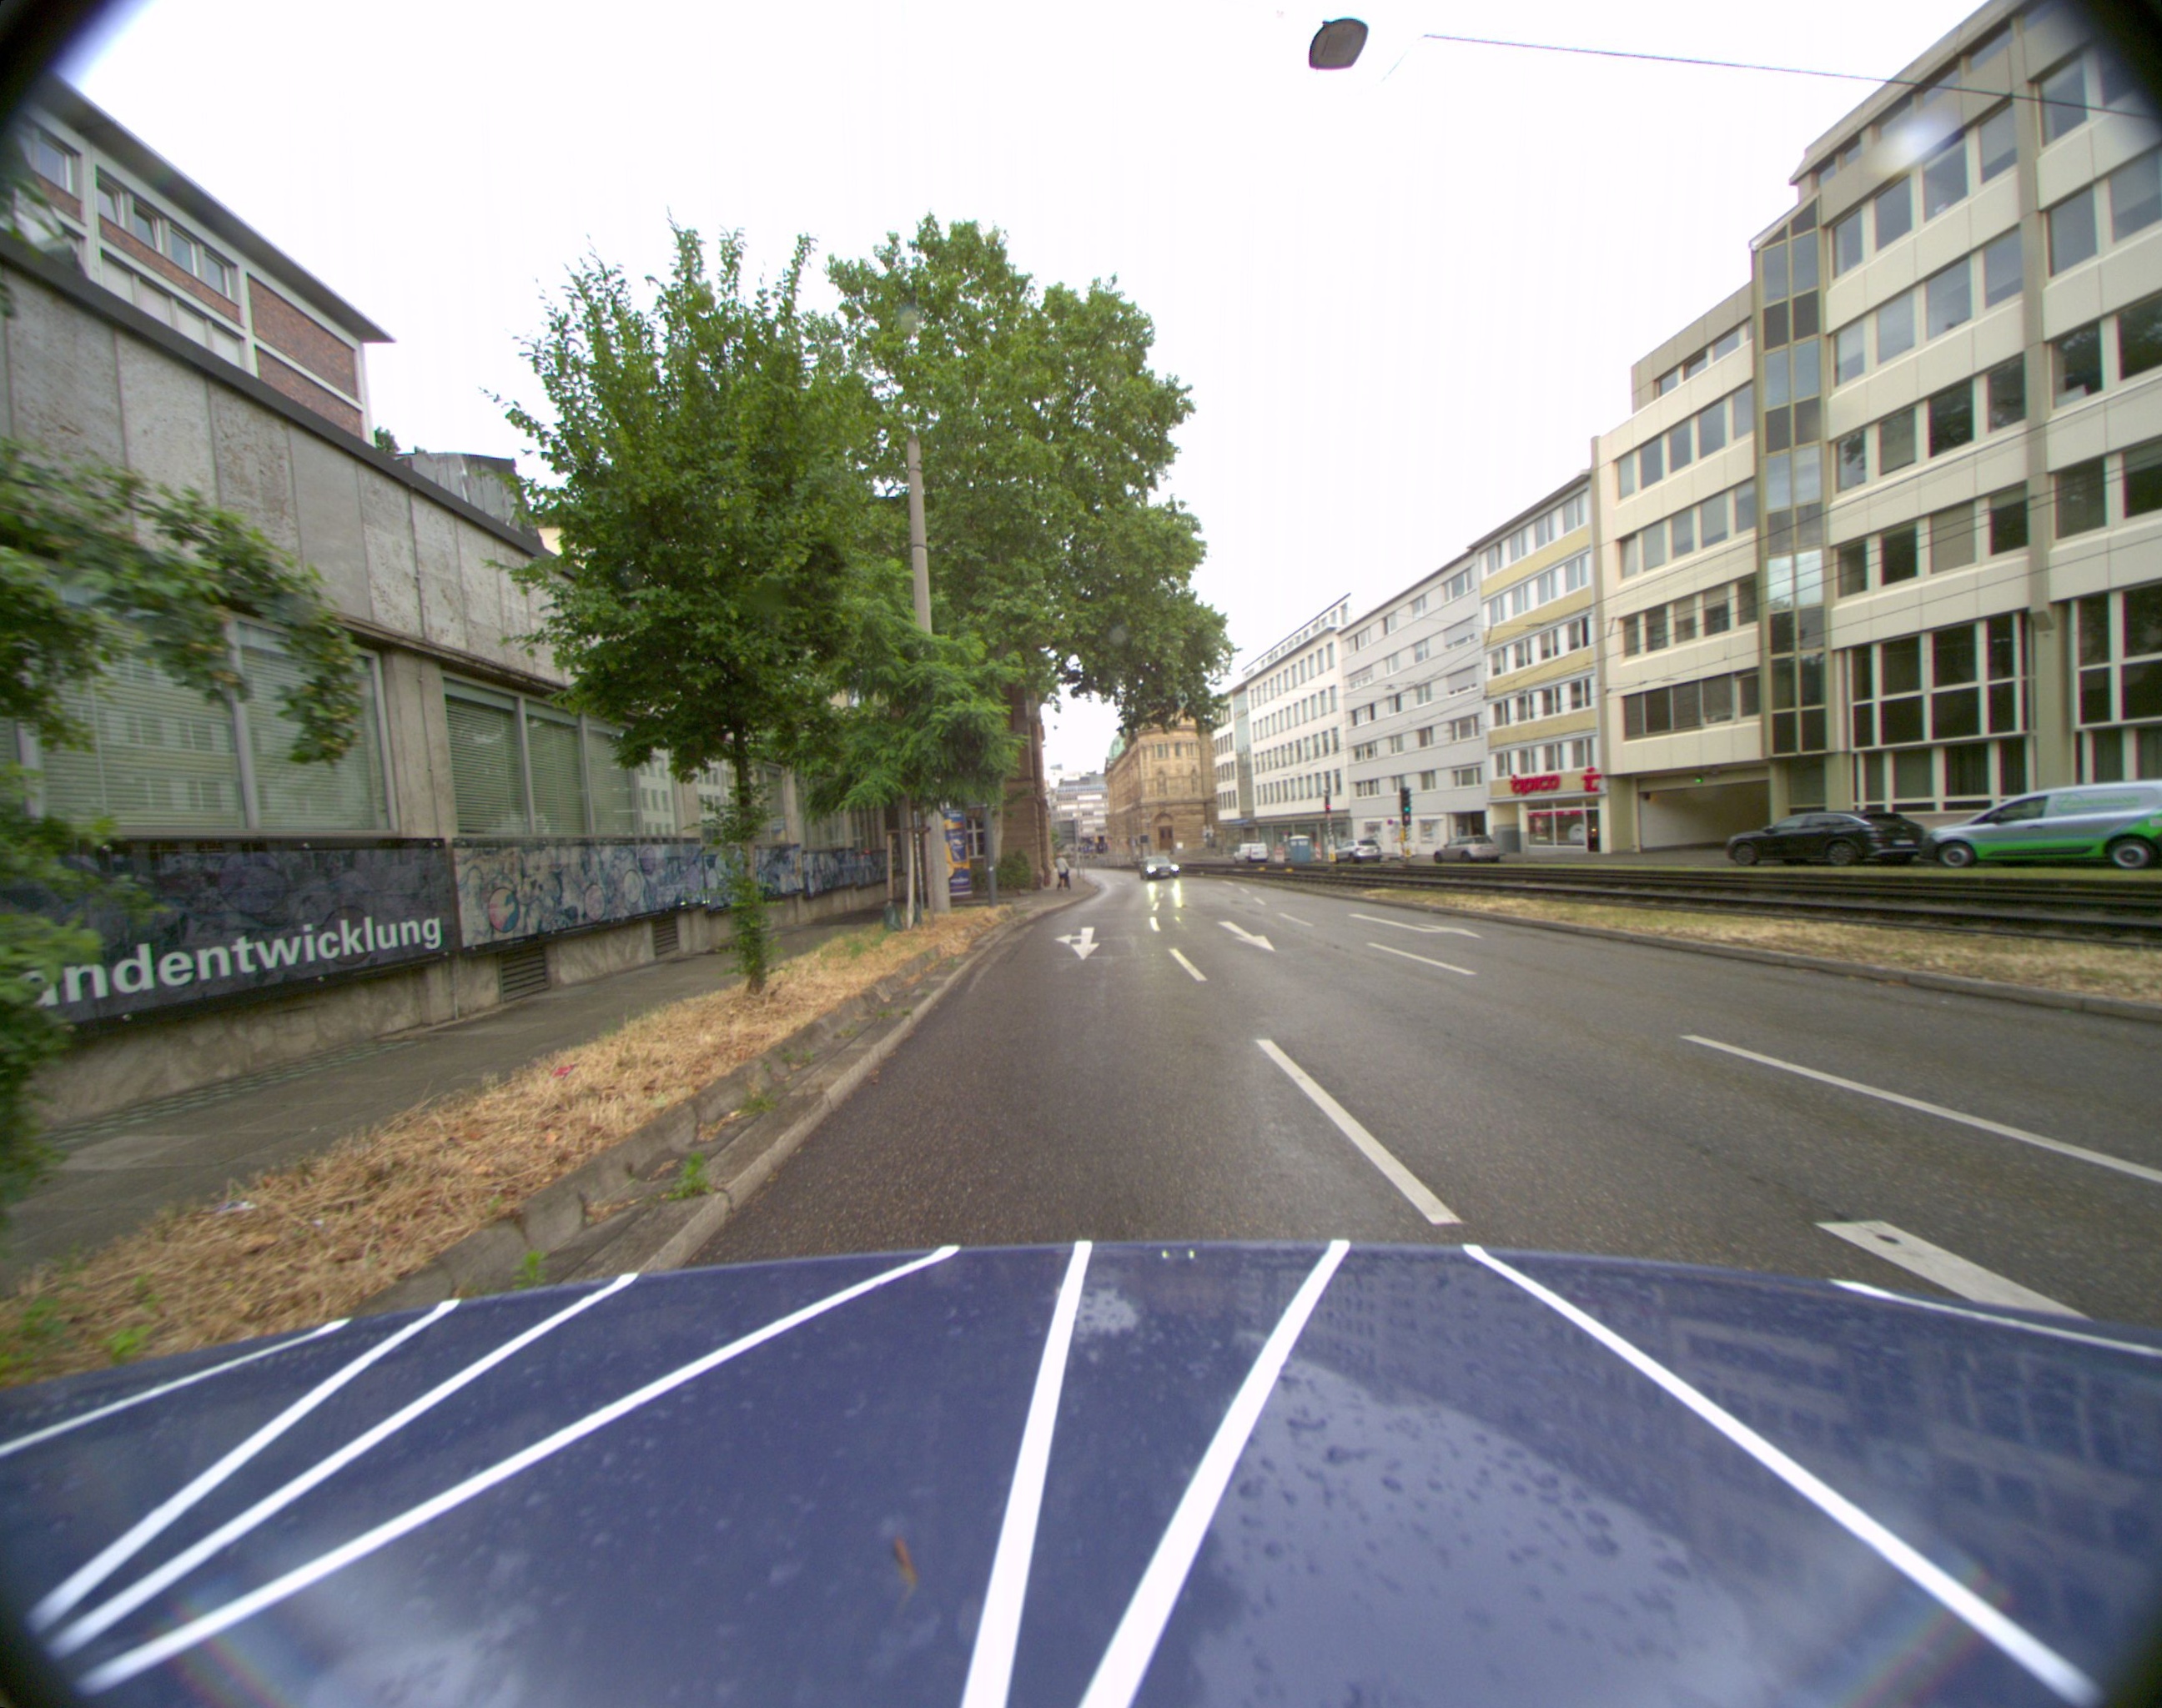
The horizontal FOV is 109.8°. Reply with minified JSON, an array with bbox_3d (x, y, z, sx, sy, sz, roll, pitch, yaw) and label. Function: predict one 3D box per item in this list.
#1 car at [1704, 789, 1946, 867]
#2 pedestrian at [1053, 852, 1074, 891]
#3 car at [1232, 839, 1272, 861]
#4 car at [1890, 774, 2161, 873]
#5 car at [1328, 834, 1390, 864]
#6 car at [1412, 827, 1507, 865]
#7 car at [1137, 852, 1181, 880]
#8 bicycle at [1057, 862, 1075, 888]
[{"bbox_3d":[21.067,-0.715,21.868,1.999,1.840,4.691,-6,2,-7],"label":"car"},{"bbox_3d":[-0.822,0.801,35.304,0.719,1.732,1.020,-1,1,11],"label":"pedestrian"},{"bbox_3d":[16.408,-0.395,73.101,1.999,1.832,5.127,-6,2,-7],"label":"car"},{"bbox_3d":[21.500,-0.676,16.755,1.999,1.840,4.691,-6,2,-7],"label":"car"},{"bbox_3d":[18.334,-0.295,50.378,1.999,1.664,4.694,-6,0,-4],"label":"car"},{"bbox_3d":[19.250,-0.423,38.912,1.999,1.664,4.691,-6,2,-7],"label":"car"},{"bbox_3d":[4.742,0.697,46.737,1.999,1.458,4.642,-5,0,-1],"label":"car"},{"bbox_3d":[-0.711,1.000,36.304,0.620,1.213,0.911,-2,1,12],"label":"bicycle"}]
